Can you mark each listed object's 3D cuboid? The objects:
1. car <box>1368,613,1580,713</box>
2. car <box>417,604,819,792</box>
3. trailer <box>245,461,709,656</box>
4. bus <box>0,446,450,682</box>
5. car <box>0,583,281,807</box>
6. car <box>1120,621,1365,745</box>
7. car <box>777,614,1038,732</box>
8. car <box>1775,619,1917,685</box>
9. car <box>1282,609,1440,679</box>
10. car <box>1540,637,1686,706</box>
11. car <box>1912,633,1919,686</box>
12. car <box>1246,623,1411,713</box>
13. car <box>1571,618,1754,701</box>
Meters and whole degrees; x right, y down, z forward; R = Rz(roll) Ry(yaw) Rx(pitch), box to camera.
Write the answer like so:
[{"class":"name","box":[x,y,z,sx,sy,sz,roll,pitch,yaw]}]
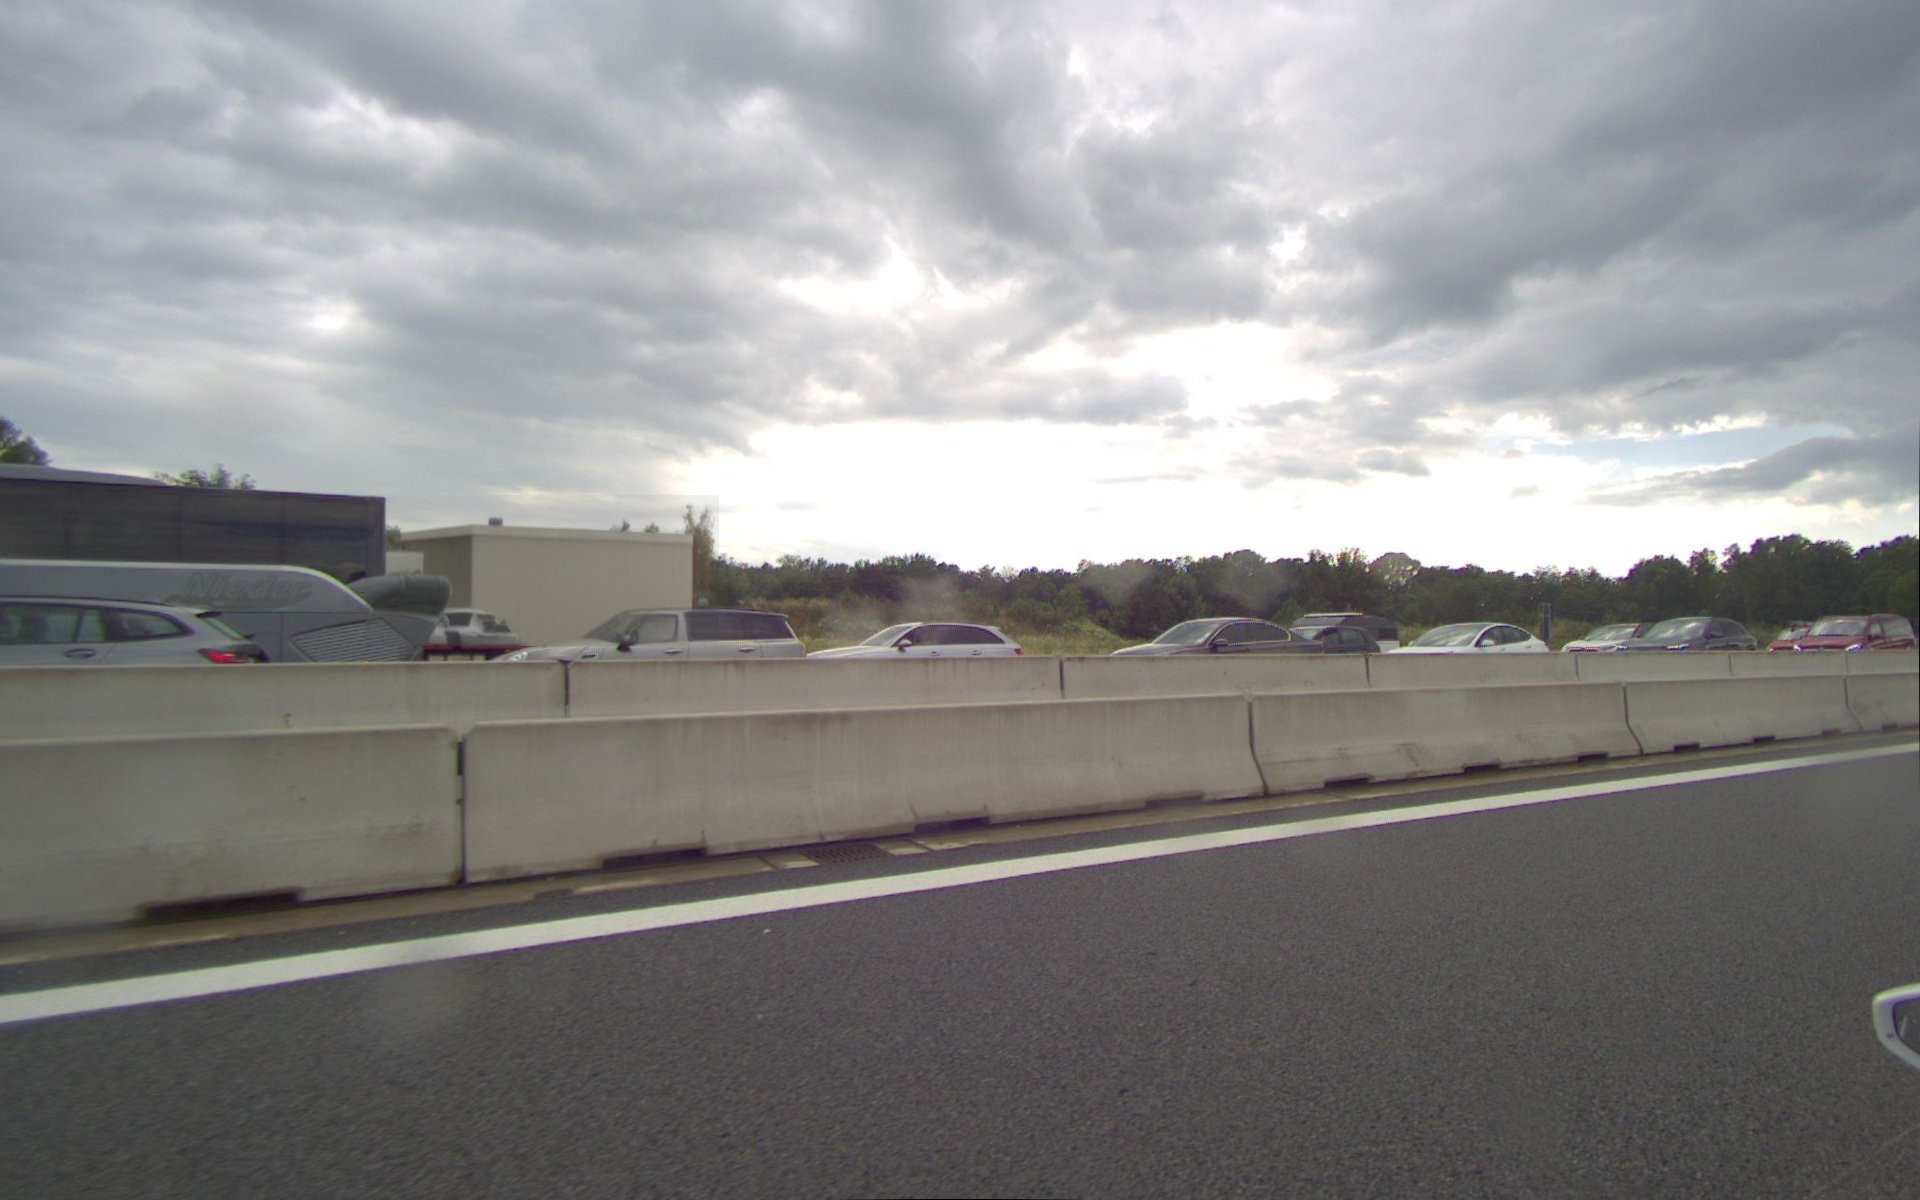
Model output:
[{"class":"car","box":[11.794,1.377,22.971,4.913,2.040,1.984,1,0,-30]},{"class":"car","box":[-4.376,1.124,13.031,4.641,2.040,1.984,1,0,-30]},{"class":"trailer","box":[-10.658,-0.698,23.072,9.052,3.812,2.847,1,-1,-30]},{"class":"bus","box":[-15.552,-0.544,15.221,13.832,3.430,2.674,1,0,-30]},{"class":"car","box":[-9.406,0.835,9.606,4.641,1.993,1.984,1,0,-30]},{"class":"car","box":[5.326,1.454,18.826,4.298,2.040,1.984,1,0,-30]},{"class":"car","box":[-0.969,1.320,19.356,4.641,1.993,1.984,1,0,-30]},{"class":"car","box":[29.731,1.702,33.656,5.354,2.040,1.984,1,0,-30]},{"class":"car","box":[12.636,1.355,31.585,4.765,2.040,1.986,1,0,-28]},{"class":"car","box":[21.287,2.273,32.700,4.913,2.040,1.984,1,0,-30]},{"class":"car","box":[37.673,2.253,37.417,4.449,1.929,1.984,1,0,-30]},{"class":"car","box":[9.189,1.638,25.037,3.667,2.040,1.984,1,0,-30]},{"class":"car","box":[19.099,1.546,27.249,5.354,2.040,1.984,1,0,-30]}]
